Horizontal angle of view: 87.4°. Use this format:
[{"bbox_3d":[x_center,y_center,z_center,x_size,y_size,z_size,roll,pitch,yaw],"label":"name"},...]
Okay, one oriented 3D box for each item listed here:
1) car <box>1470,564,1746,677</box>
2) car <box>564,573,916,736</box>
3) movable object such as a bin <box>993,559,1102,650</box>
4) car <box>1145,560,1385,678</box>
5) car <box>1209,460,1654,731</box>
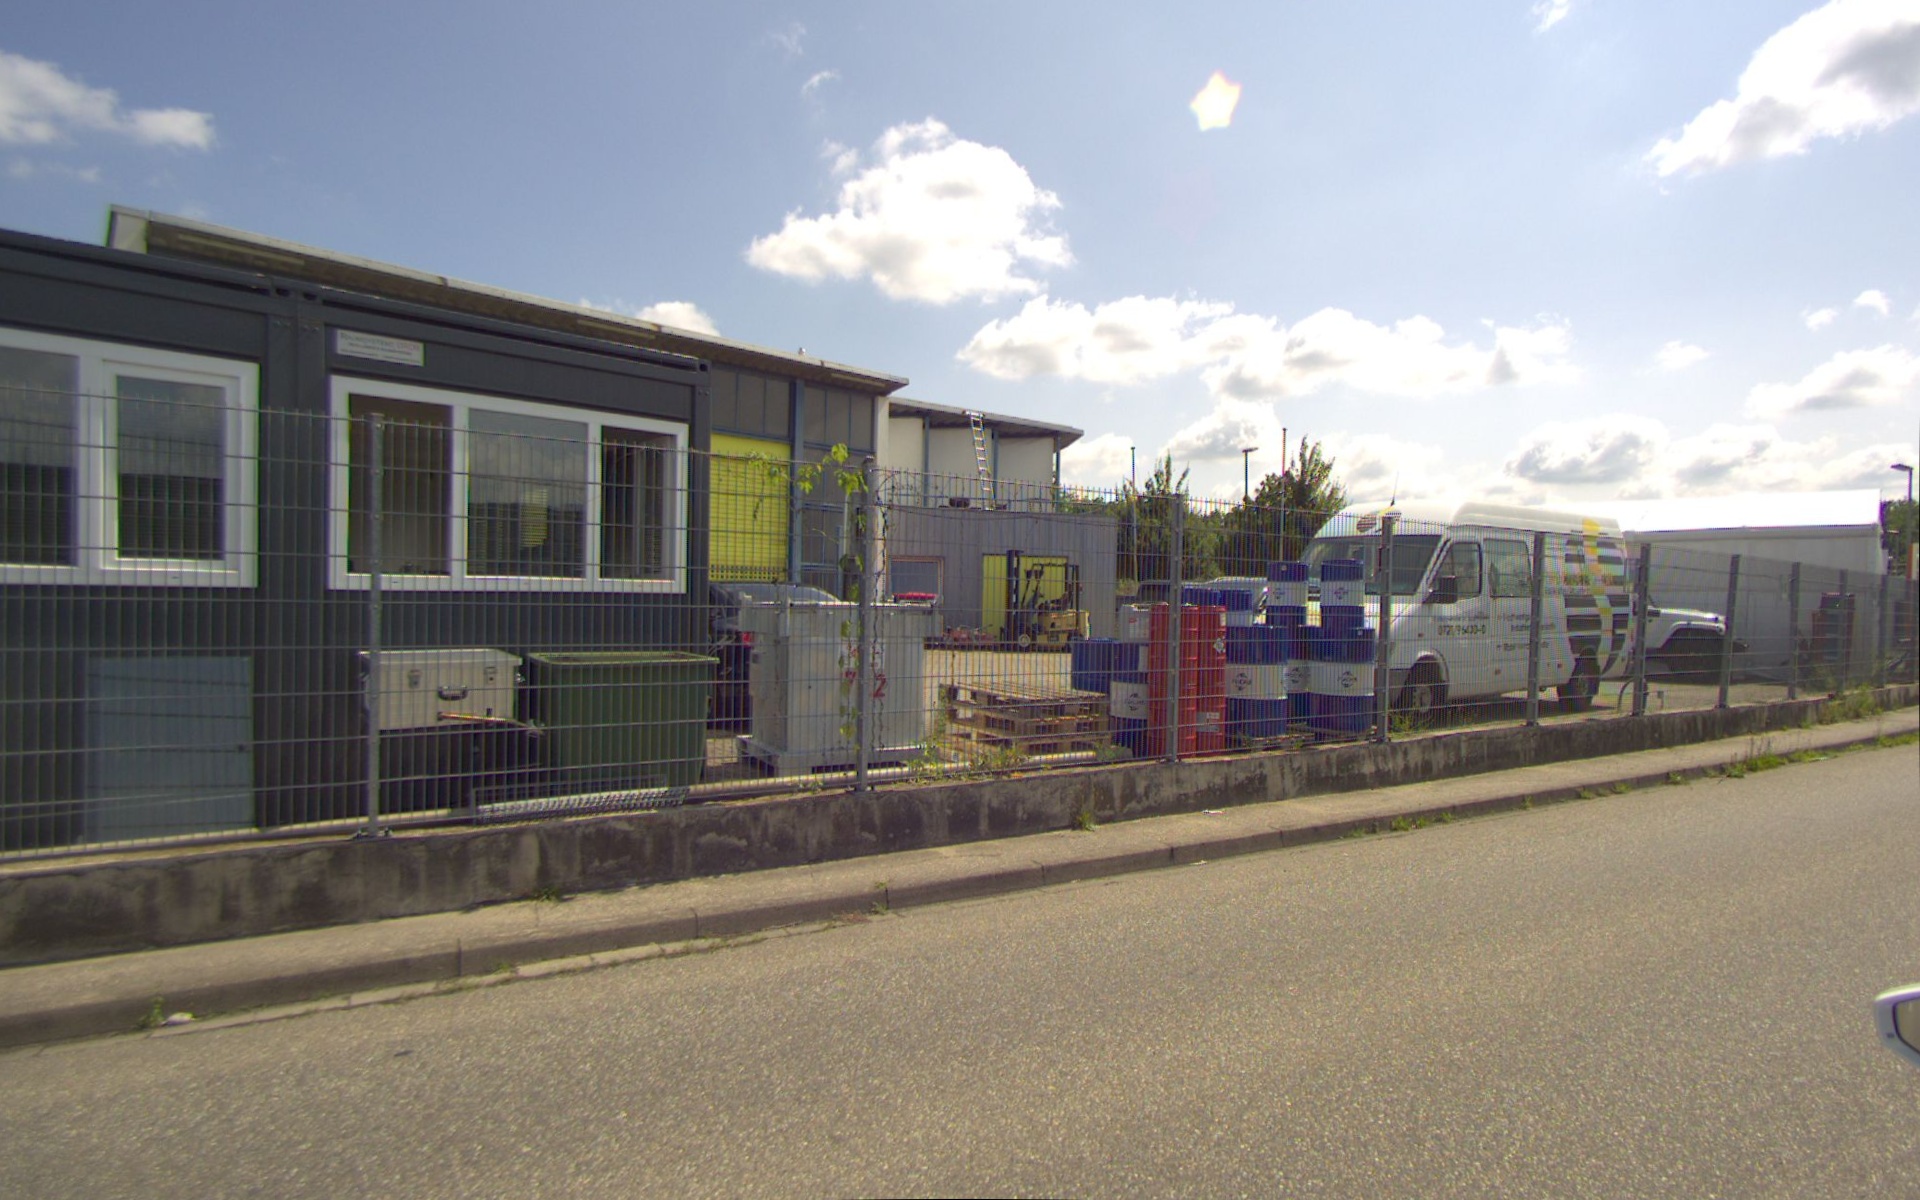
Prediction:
[{"bbox_3d":[13.147,0.360,20.512,4.501,2.053,2.049,1,0,40],"label":"car"},{"bbox_3d":[-2.458,0.479,10.470,1.721,1.349,4.159,5,-2,-42],"label":"car"},{"bbox_3d":[2.157,0.096,25.123,2.333,2.133,1.634,2,2,-10],"label":"movable object such as a bin"},{"bbox_3d":[5.031,0.302,16.347,3.970,1.690,1.960,1,0,-42],"label":"car"},{"bbox_3d":[6.063,0.004,12.373,6.655,2.571,2.103,1,0,-37],"label":"car"}]
